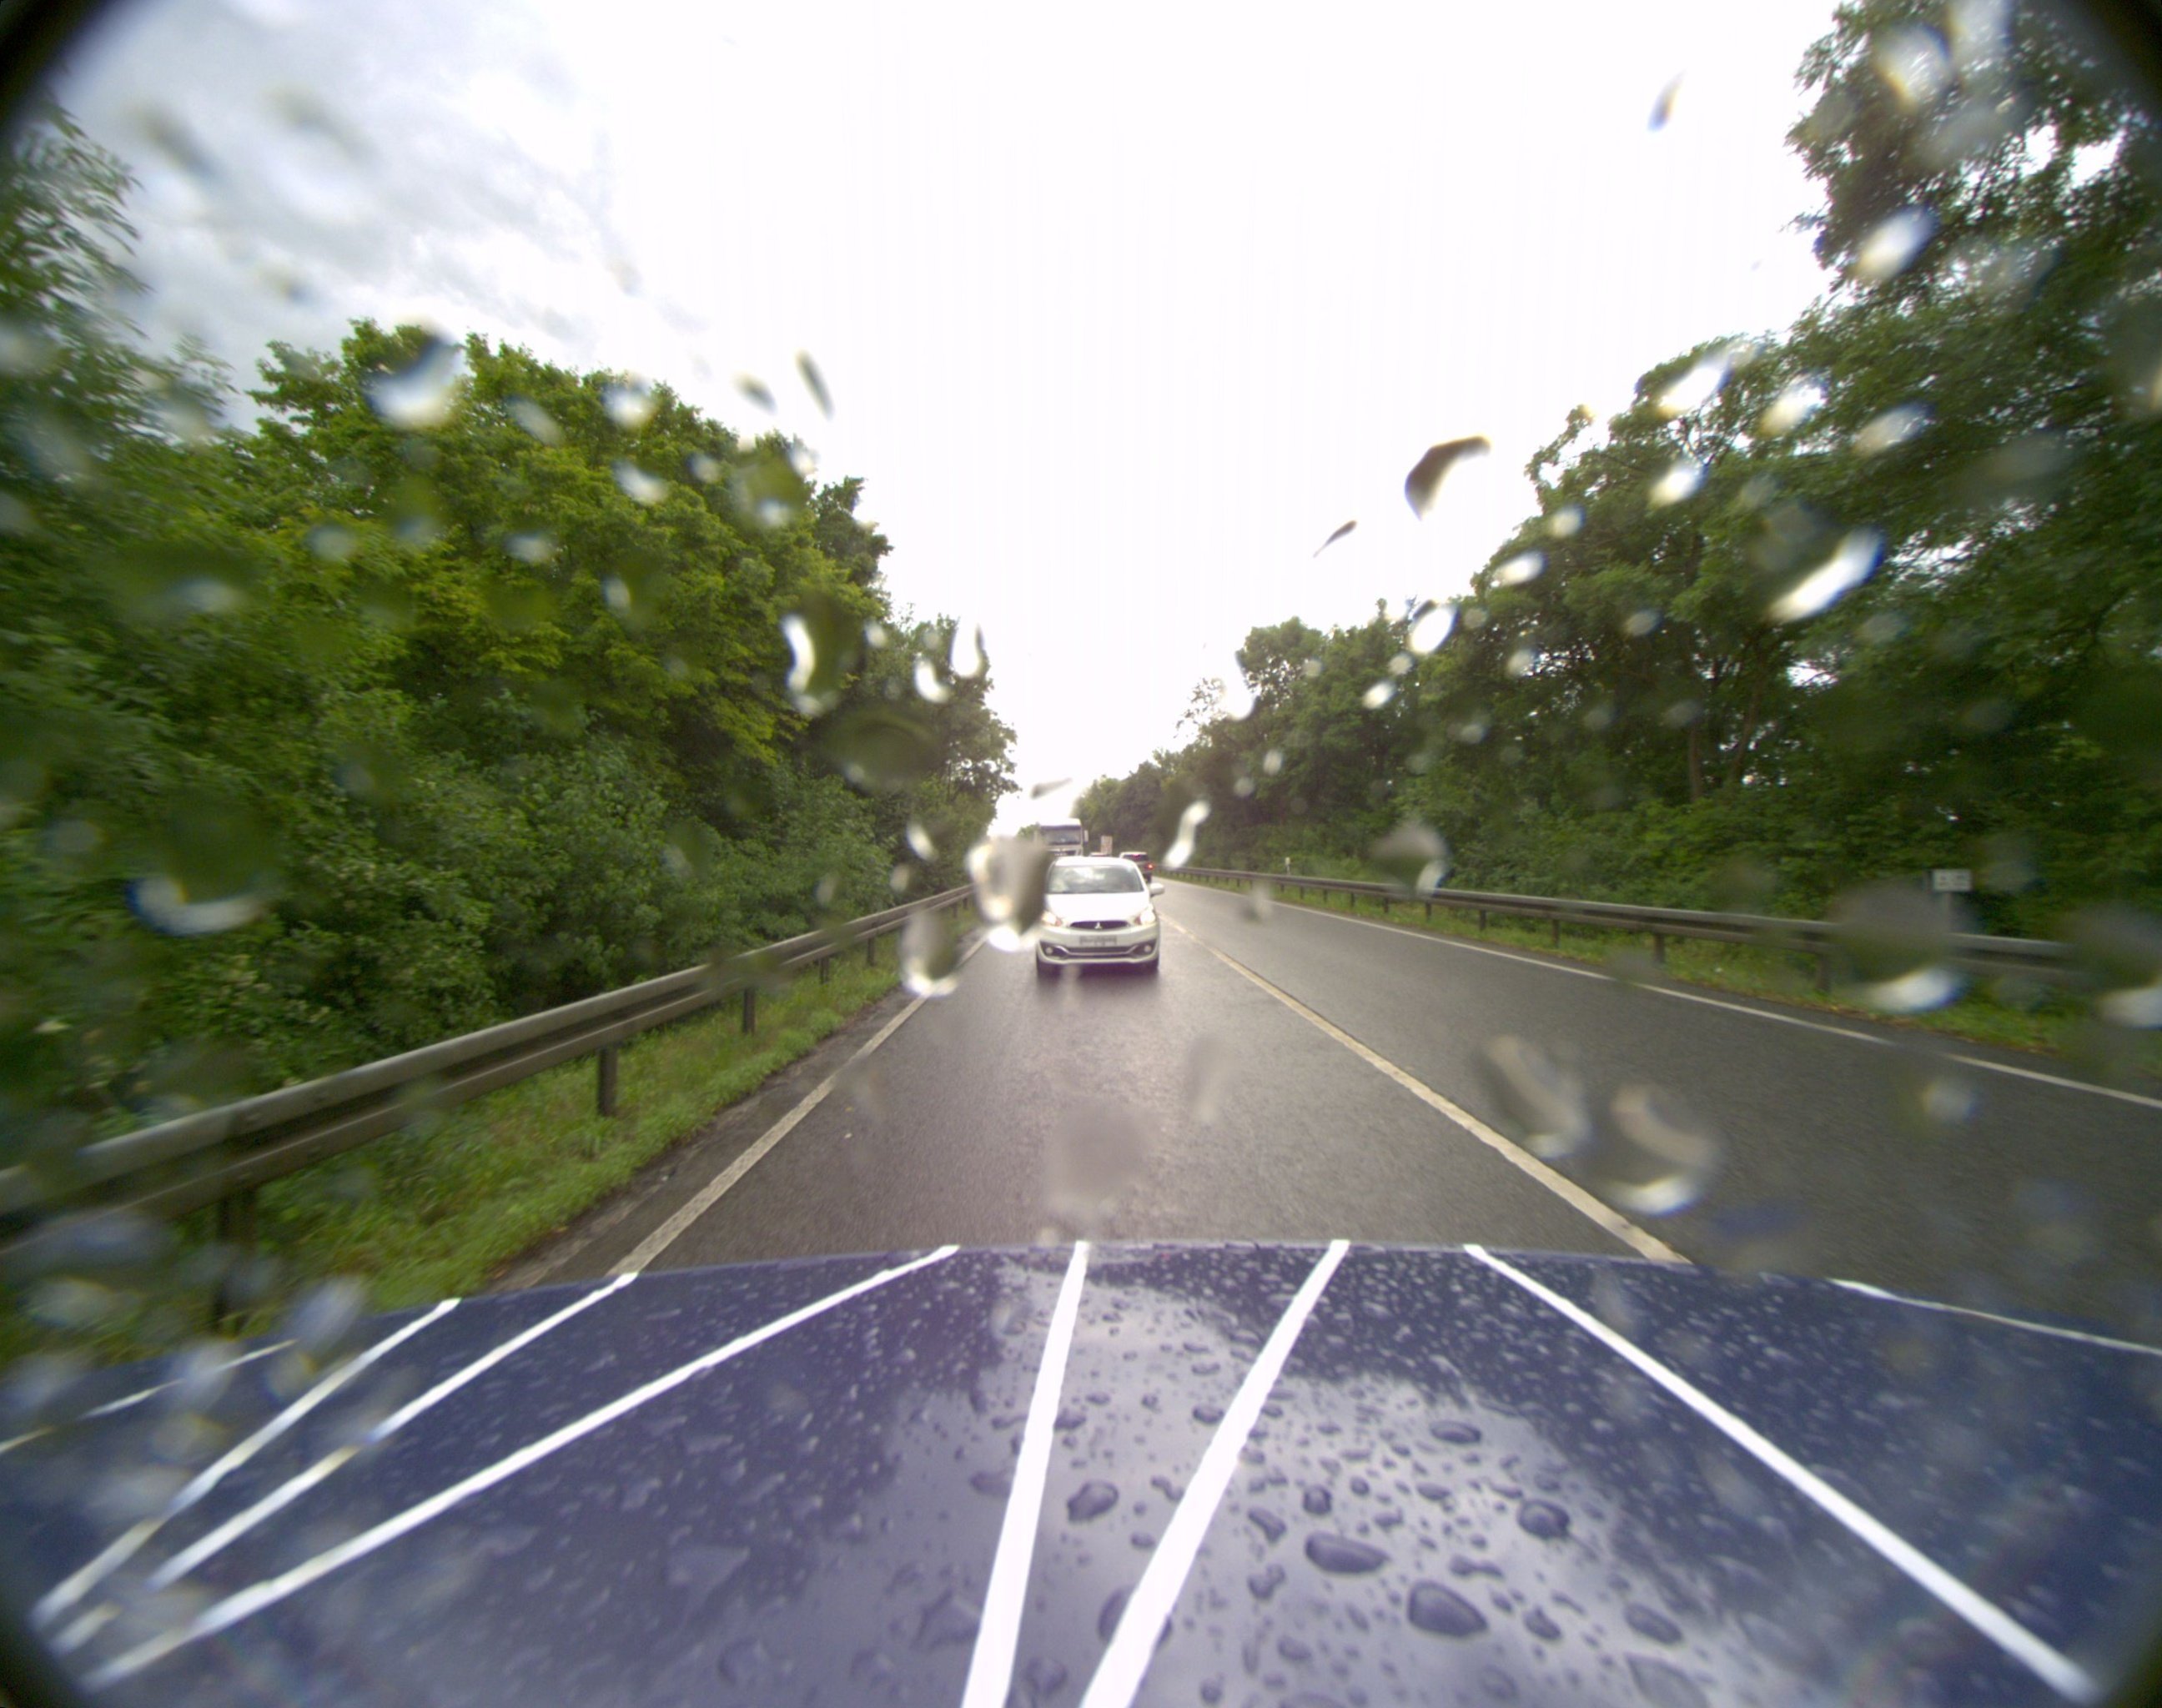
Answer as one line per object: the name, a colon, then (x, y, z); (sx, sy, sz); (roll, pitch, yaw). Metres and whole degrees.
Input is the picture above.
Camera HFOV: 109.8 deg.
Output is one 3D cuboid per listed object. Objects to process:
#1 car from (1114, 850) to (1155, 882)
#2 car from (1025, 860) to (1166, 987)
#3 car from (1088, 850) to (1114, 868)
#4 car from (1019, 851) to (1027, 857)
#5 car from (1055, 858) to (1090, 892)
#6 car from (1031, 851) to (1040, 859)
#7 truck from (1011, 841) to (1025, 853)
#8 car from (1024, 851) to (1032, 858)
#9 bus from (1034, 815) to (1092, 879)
car: (2.872, 0.627, 41.461); (1.801, 1.650, 4.082); (-1, 0, -2)
car: (0.108, 0.870, 11.379); (1.701, 1.471, 4.062); (-1, 0, -2)
car: (1.627, 0.417, 62.709); (1.886, 1.412, 3.999); (-1, 0, -2)
car: (-13.199, 0.026, 173.659); (1.535, 1.459, 3.072); (-2, 0, -8)
car: (-0.413, 0.880, 33.363); (1.476, 1.410, 3.428); (-1, -1, -2)
car: (-8.572, 0.120, 142.744); (1.535, 1.459, 3.072); (-2, 0, -8)
truck: (-15.766, -1.753, 189.327); (2.433, 2.982, 6.937); (-2, 1, -12)
car: (-11.337, 0.040, 162.529); (1.535, 1.459, 3.072); (-2, 0, -8)
bus: (-1.177, -0.373, 48.032); (3.063, 3.405, 13.637); (-1, 0, -2)
